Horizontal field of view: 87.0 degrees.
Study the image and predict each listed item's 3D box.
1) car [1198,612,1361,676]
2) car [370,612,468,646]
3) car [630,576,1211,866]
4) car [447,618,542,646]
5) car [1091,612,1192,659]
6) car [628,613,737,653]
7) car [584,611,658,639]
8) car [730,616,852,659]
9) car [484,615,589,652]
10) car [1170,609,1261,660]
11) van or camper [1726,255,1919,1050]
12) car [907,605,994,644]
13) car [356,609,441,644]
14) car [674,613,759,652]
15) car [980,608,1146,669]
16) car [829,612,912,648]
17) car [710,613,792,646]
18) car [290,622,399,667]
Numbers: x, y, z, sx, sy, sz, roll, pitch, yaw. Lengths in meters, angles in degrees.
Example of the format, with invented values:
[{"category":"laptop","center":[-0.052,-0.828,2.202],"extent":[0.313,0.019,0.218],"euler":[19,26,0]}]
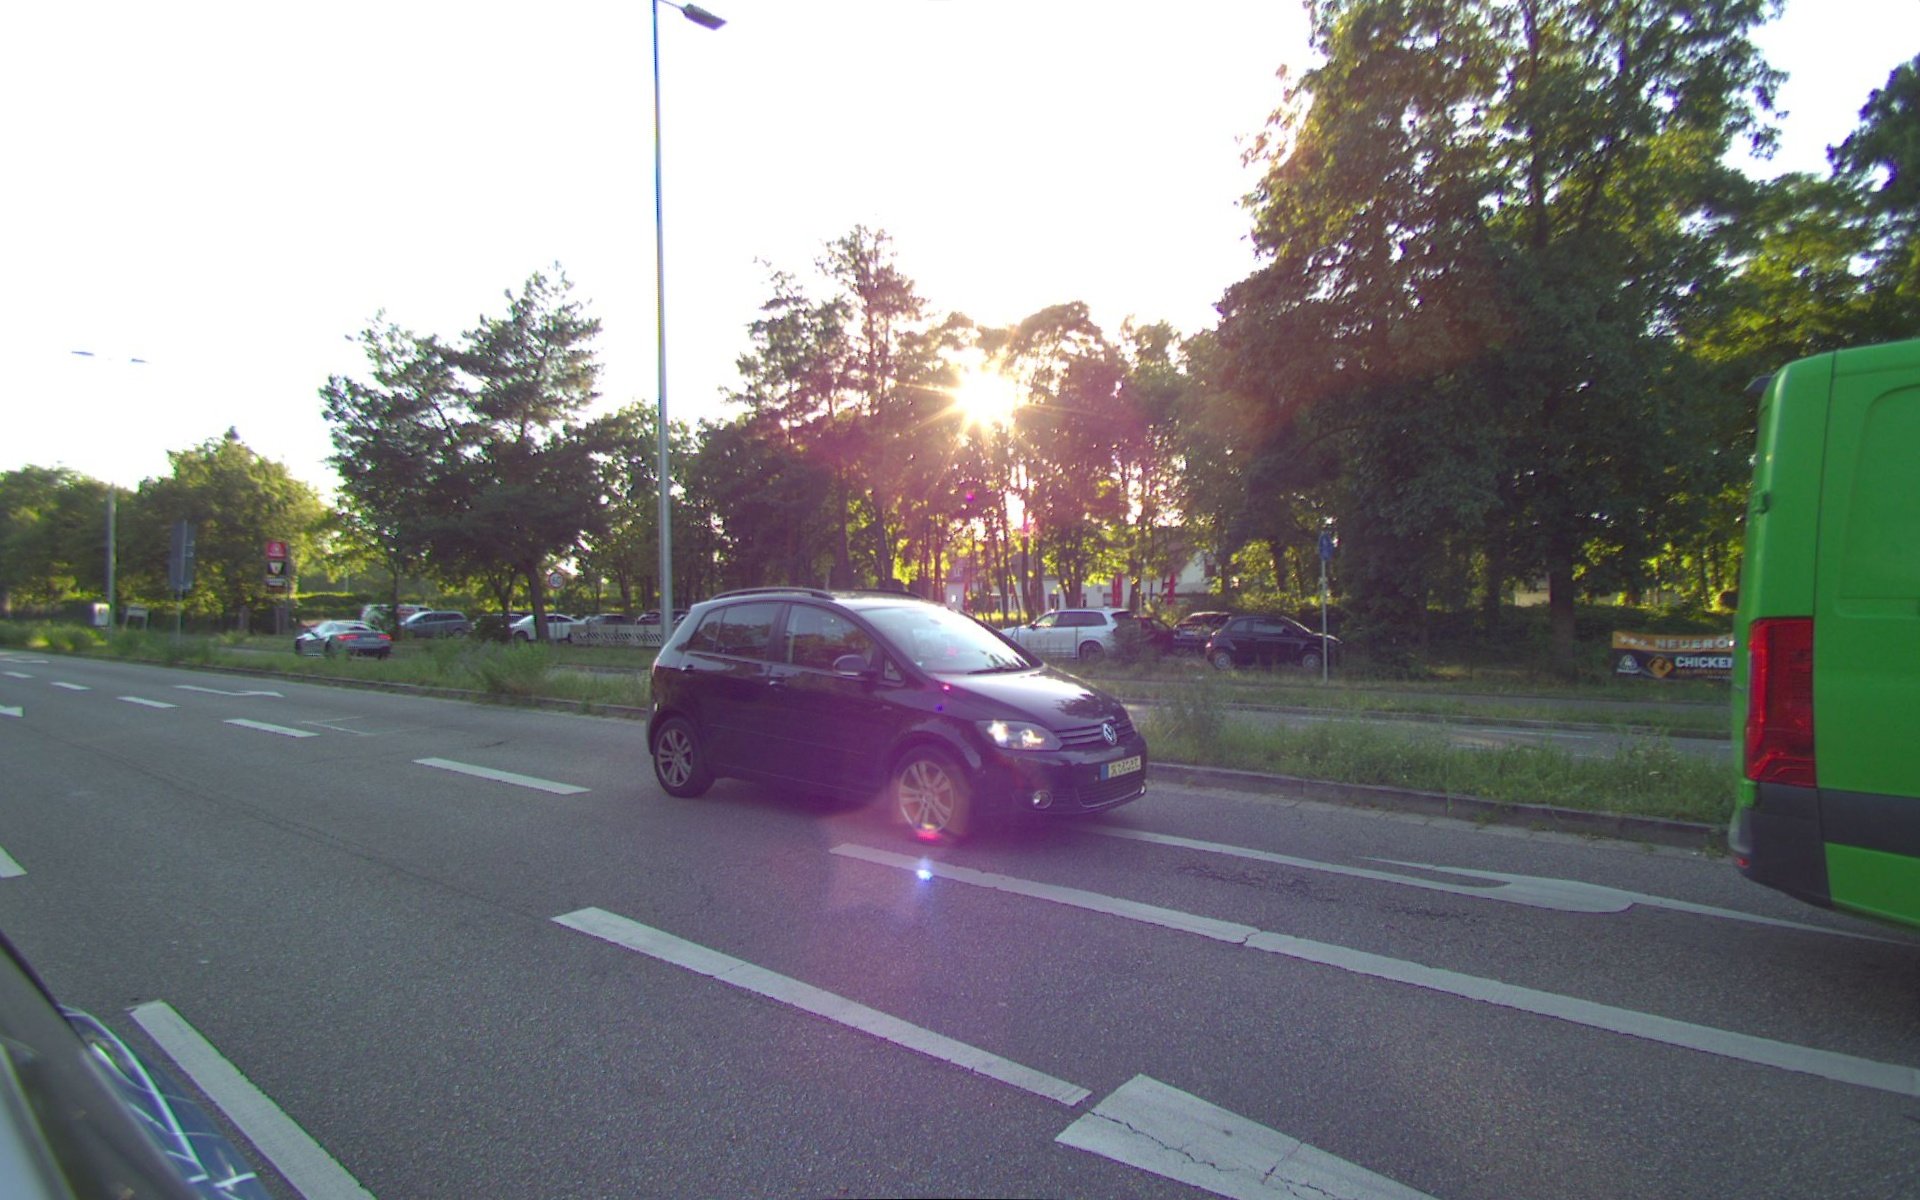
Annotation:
[{"category":"car","center":[8.576,1.147,27.251],"extent":[3.807,1.609,1.838],"euler":[-1,-2,36]},{"category":"car","center":[-30.233,1.608,56.684],"extent":[1.907,1.811,4.443],"euler":[-1,-2,38]},{"category":"car","center":[-0.426,0.698,7.495],"extent":[3.995,1.564,1.974],"euler":[-1,-2,38]},{"category":"car","center":[-23.186,1.580,50.488],"extent":[1.731,1.322,3.947],"euler":[-1,-2,39]},{"category":"car","center":[6.827,1.311,37.848],"extent":[1.918,1.663,3.944],"euler":[-1,-2,42]},{"category":"car","center":[-12.014,1.420,44.043],"extent":[1.769,1.629,4.470],"euler":[-1,-2,37]},{"category":"car","center":[-20.492,1.507,61.241],"extent":[1.765,1.663,3.947],"euler":[-1,-2,40]},{"category":"car","center":[-6.601,1.416,39.297],"extent":[4.701,1.560,1.975],"euler":[-1,-2,37]},{"category":"car","center":[-20.799,1.623,49.847],"extent":[1.908,1.767,4.441],"euler":[-1,-2,39]},{"category":"car","center":[9.004,1.174,35.445],"extent":[1.914,1.663,3.954],"euler":[-1,-1,34]},{"category":"van or camper","center":[5.472,0.135,2.266],"extent":[5.891,2.439,1.973],"euler":[-1,-2,40]},{"category":"car","center":[-0.381,1.104,45.114],"extent":[1.765,1.663,3.947],"euler":[-1,-2,39]},{"category":"car","center":[-32.524,1.518,58.685],"extent":[1.764,1.959,3.949],"euler":[-1,-2,38]},{"category":"car","center":[-9.982,1.312,41.580],"extent":[1.657,1.538,3.060],"euler":[-1,-2,38]},{"category":"car","center":[3.177,1.177,31.807],"extent":[4.913,1.800,1.975],"euler":[-1,-2,37]},{"category":"car","center":[-4.316,1.451,49.049],"extent":[1.765,1.663,3.947],"euler":[-1,-2,39]},{"category":"car","center":[-10.897,1.522,52.951],"extent":[1.765,1.663,3.947],"euler":[-1,-2,40]},{"category":"car","center":[-21.705,1.516,35.621],"extent":[4.495,1.452,1.872],"euler":[-1,-2,39]}]
